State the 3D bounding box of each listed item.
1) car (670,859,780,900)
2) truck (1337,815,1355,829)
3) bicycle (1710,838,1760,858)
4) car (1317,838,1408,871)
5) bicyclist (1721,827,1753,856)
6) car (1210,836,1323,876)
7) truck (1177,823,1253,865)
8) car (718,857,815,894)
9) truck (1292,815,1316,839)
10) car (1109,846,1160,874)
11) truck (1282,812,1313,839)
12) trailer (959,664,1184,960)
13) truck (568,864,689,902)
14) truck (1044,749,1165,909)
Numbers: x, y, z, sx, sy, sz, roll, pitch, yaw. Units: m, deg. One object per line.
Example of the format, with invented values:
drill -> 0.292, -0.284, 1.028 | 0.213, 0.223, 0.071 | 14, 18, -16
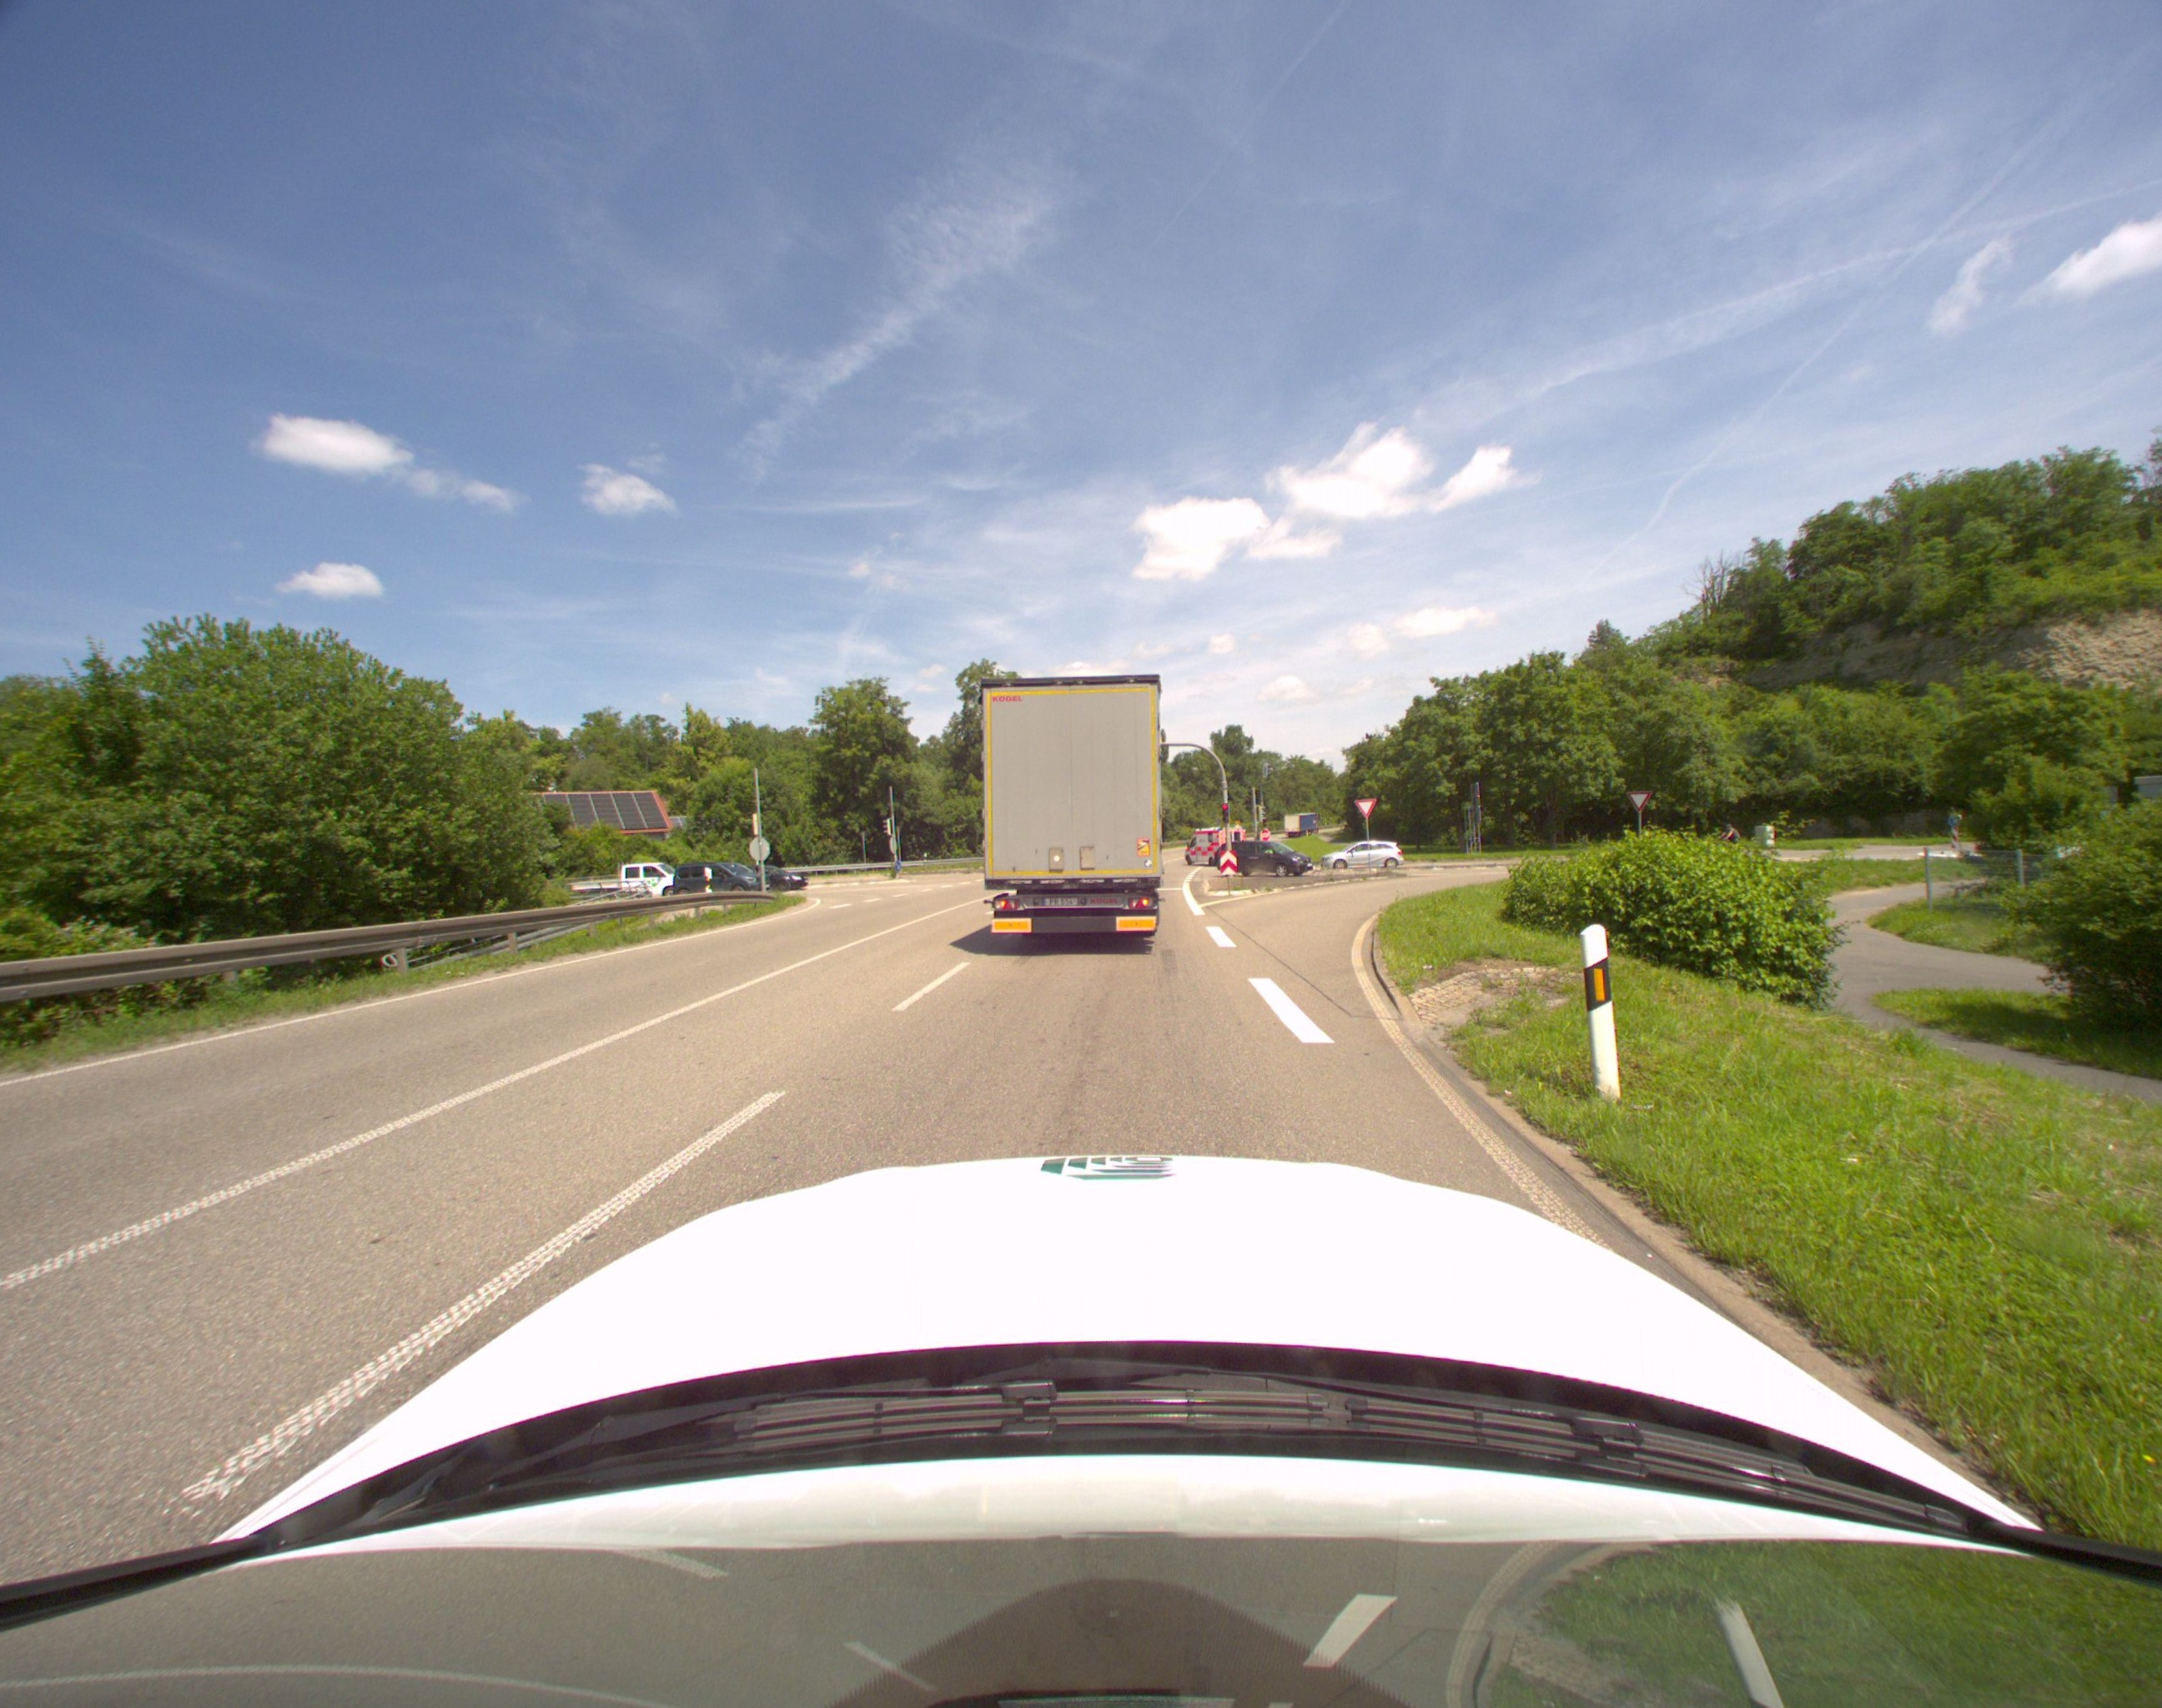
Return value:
car -> -16.491, 1.168, 37.808 | 4.205, 1.770, 2.006 | -2, -1, 12
truck -> 59.394, -7.099, 182.366 | 2.829, 2.948, 7.146 | -1, 0, 25
bicycle -> 33.870, -0.317, 42.185 | 1.982, 0.995, 0.797 | 0, -2, -1
car -> 15.329, 0.062, 44.556 | 4.404, 1.718, 2.004 | -1, -2, 7
bicyclist -> 33.996, -0.659, 42.202 | 1.002, 1.448, 0.795 | 0, -2, 0
car -> 8.815, 0.138, 38.938 | 4.879, 1.785, 2.012 | -2, -2, 41
truck -> 9.486, -0.621, 58.134 | 2.505, 2.728, 5.982 | 0, -2, -24
car -> -16.151, 1.099, 41.934 | 4.205, 1.770, 2.006 | -2, -1, 12
truck -> 40.664, -4.819, 148.293 | 3.140, 4.005, 5.848 | -1, -2, 26
car -> 2.969, 0.348, 46.356 | 1.993, 1.491, 4.243 | 0, -2, -9
truck -> 38.187, -4.963, 143.122 | 3.150, 4.029, 11.811 | -1, -2, 26
trailer -> 0.339, -0.603, 17.589 | 3.038, 4.033, 12.574 | -1, 0, 4
truck -> -22.752, 1.452, 41.112 | 4.876, 1.791, 2.036 | 0, -2, -10
truck -> 0.858, -0.652, 24.258 | 3.024, 4.033, 6.637 | -1, 0, 4
